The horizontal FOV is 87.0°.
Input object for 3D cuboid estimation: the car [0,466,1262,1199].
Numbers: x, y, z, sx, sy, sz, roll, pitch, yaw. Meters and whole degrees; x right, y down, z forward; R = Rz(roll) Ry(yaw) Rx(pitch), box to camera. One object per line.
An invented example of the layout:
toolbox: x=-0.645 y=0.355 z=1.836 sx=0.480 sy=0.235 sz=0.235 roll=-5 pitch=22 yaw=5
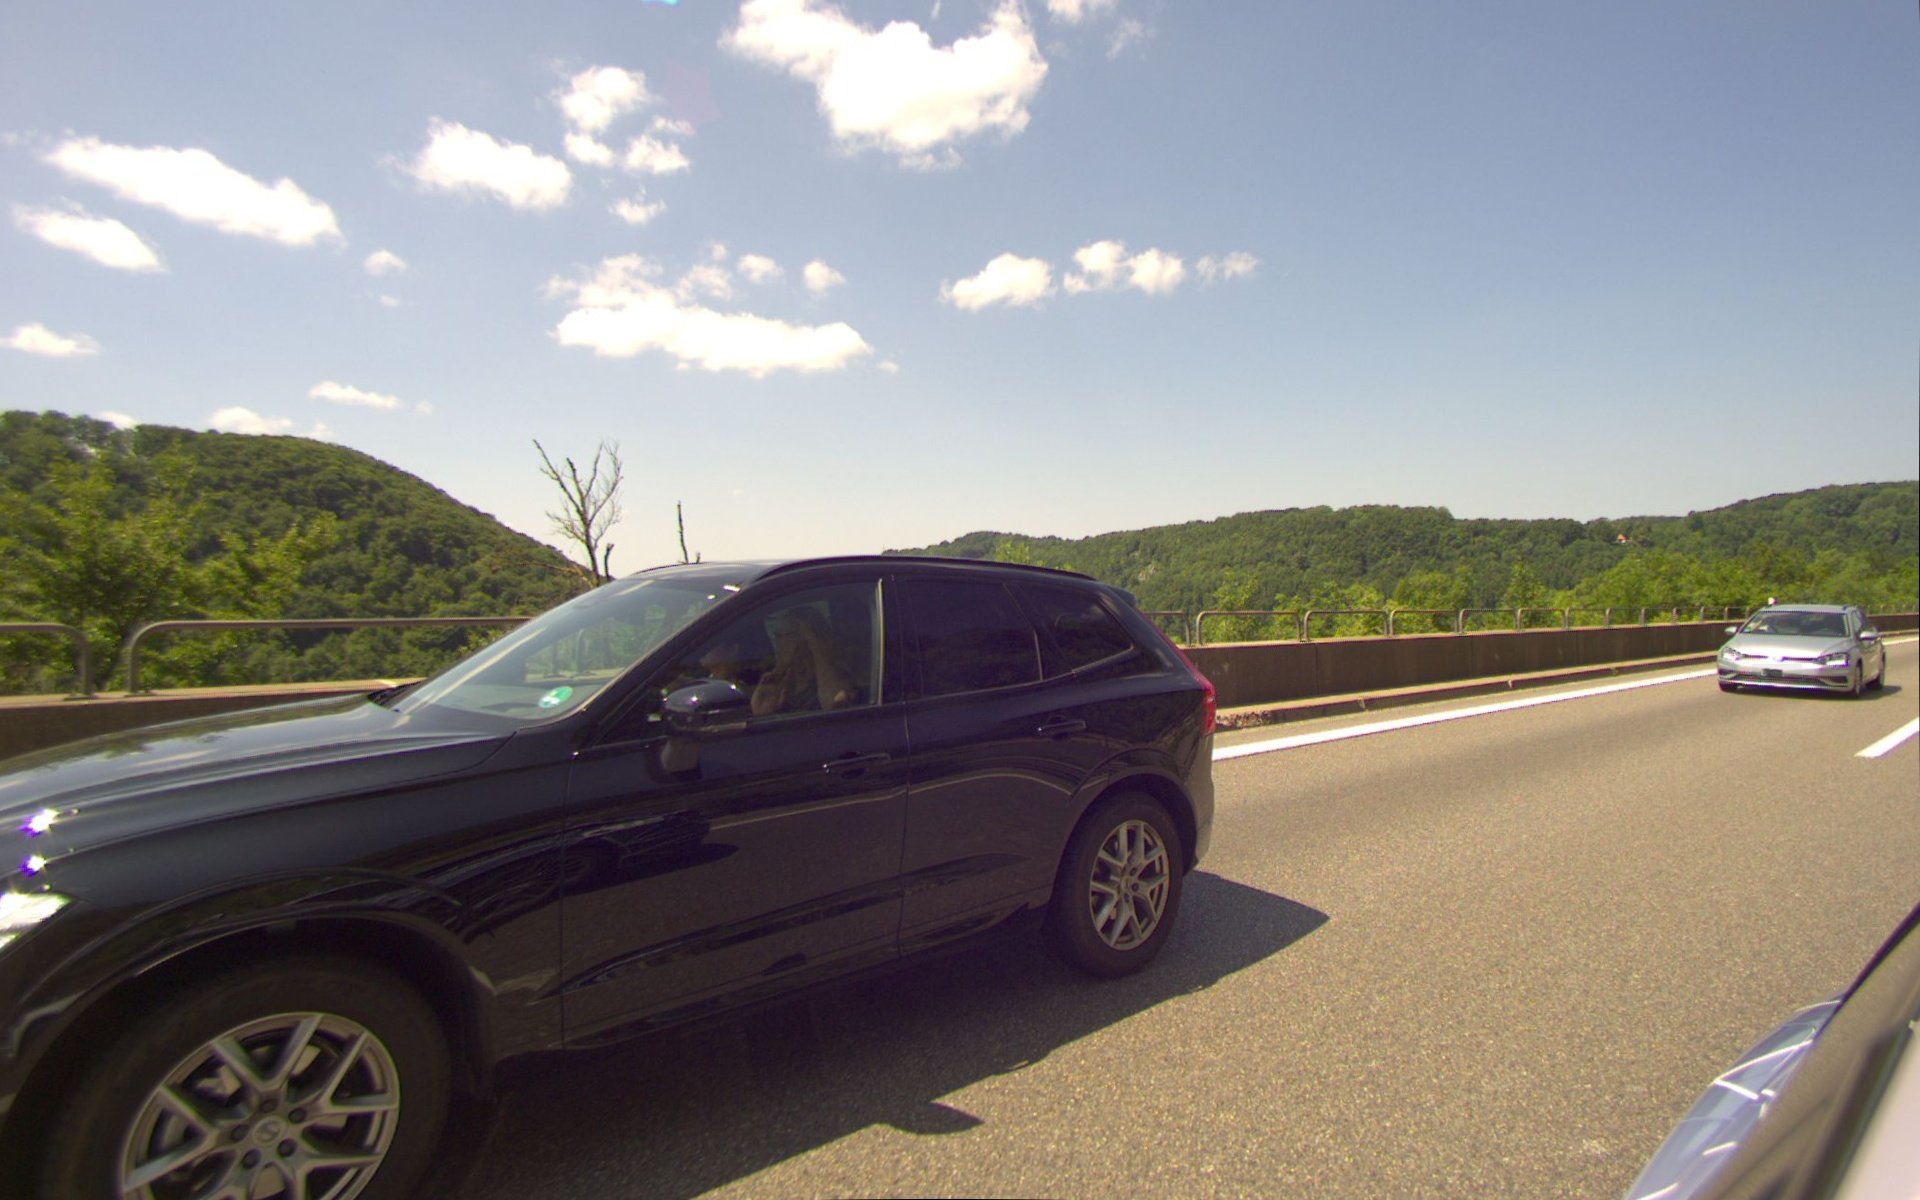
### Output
car: x=-0.967 y=0.578 z=3.643 sx=4.582 sy=1.654 sz=1.837 roll=0 pitch=1 yaw=-42

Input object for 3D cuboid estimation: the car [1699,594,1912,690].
car: x=14.354 y=0.610 z=17.116 sx=4.216 sy=1.395 sz=1.972 roll=-1 pitch=1 yaw=-39
